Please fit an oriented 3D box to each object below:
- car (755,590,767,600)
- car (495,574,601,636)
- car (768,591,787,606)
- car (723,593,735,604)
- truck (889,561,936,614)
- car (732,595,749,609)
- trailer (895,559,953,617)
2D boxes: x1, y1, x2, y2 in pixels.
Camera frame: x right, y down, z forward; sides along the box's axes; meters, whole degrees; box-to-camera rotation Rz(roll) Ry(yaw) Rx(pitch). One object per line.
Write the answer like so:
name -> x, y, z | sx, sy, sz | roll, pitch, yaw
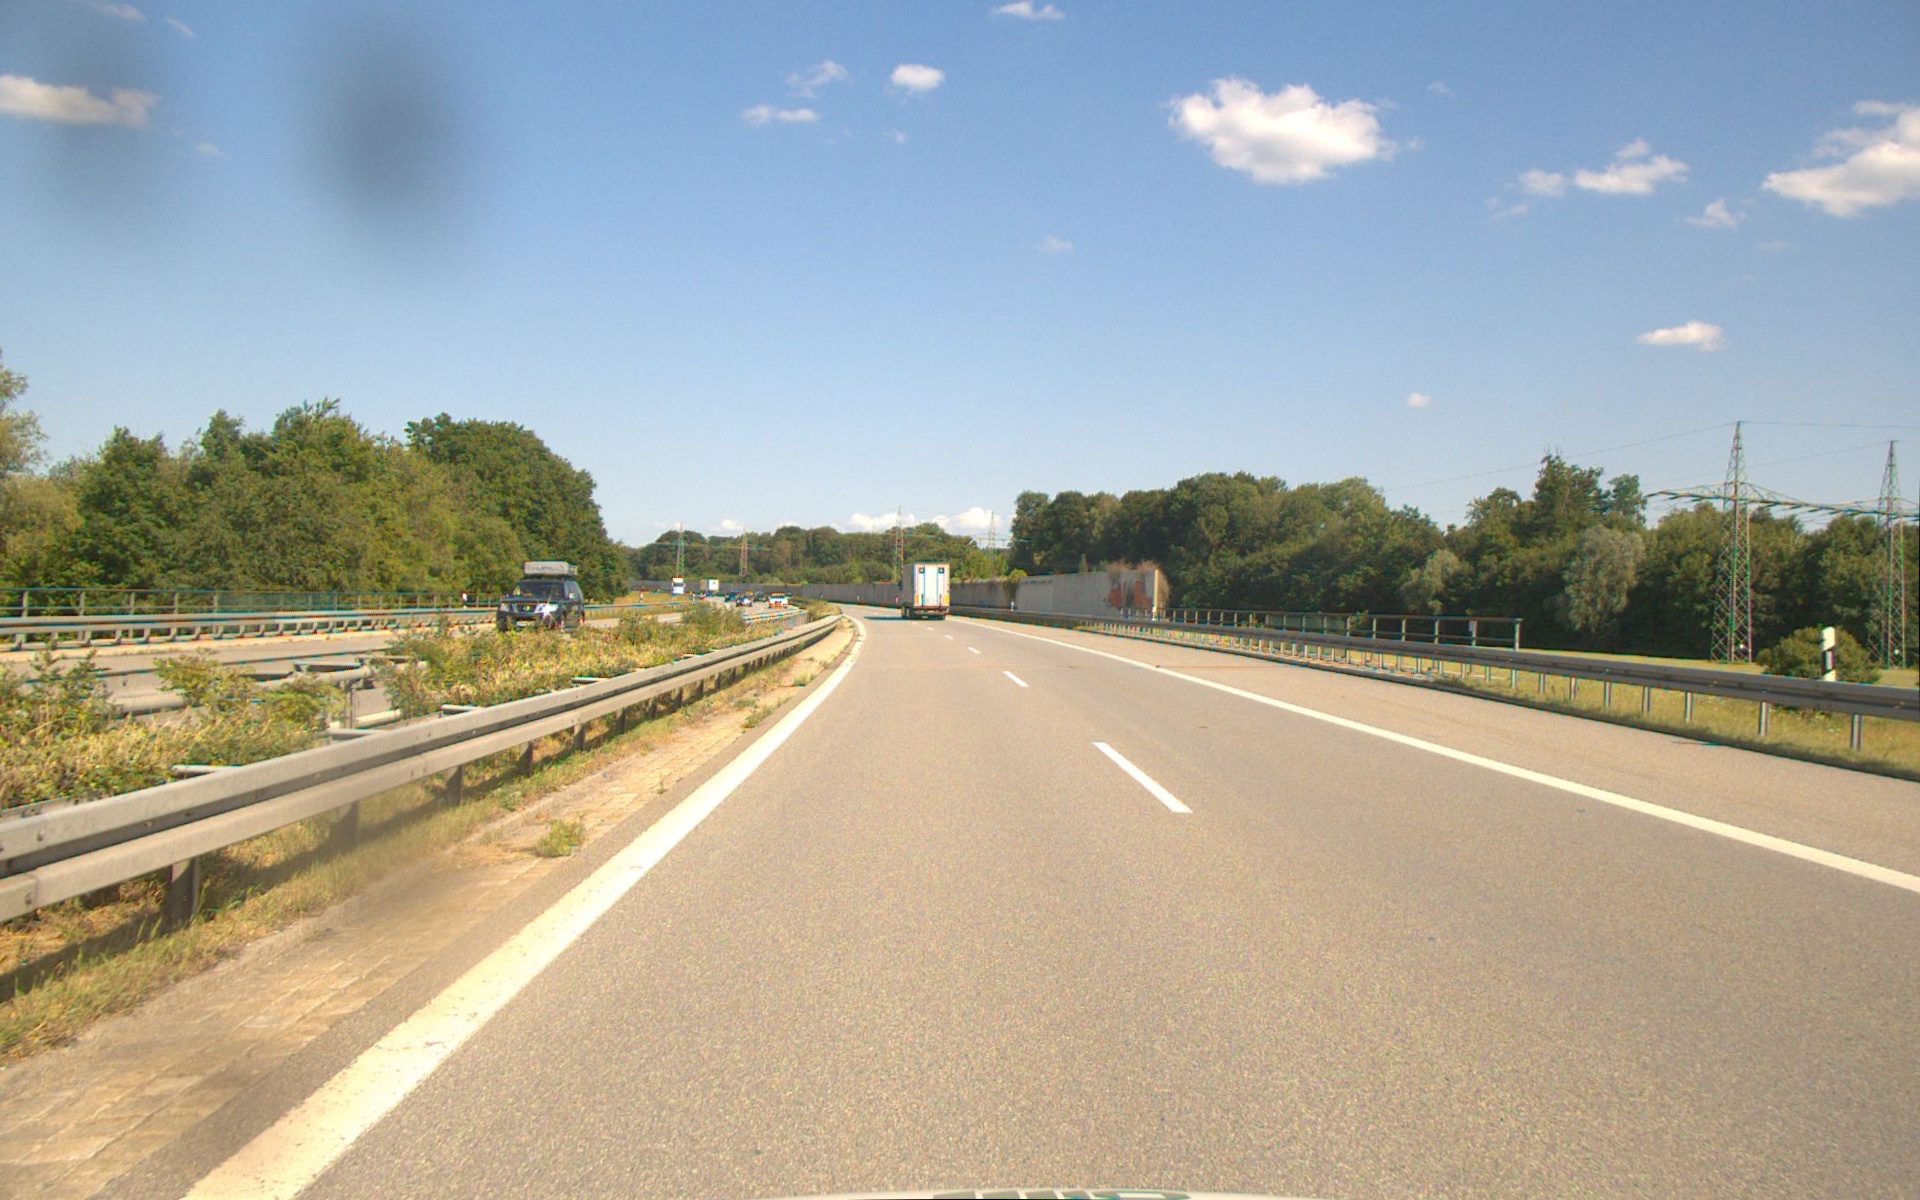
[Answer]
car -> -30.469, -0.773, 253.130 | 1.818, 1.508, 3.993 | 0, 0, -8
car -> -12.003, 0.133, 48.537 | 1.953, 1.708, 5.315 | -1, 0, -2
car -> -18.454, -0.156, 167.299 | 1.785, 1.459, 4.645 | 1, 0, -5
car -> -34.919, -0.221, 250.108 | 1.819, 1.663, 4.484 | 0, 0, -9
truck -> -3.722, -0.950, 129.065 | 2.779, 4.082, 6.571 | 0, 0, -10
car -> -24.293, 0.259, 183.245 | 1.740, 1.495, 4.497 | 1, 0, -9
trailer -> -2.777, -0.859, 122.534 | 2.830, 4.137, 12.396 | 0, 0, -8
